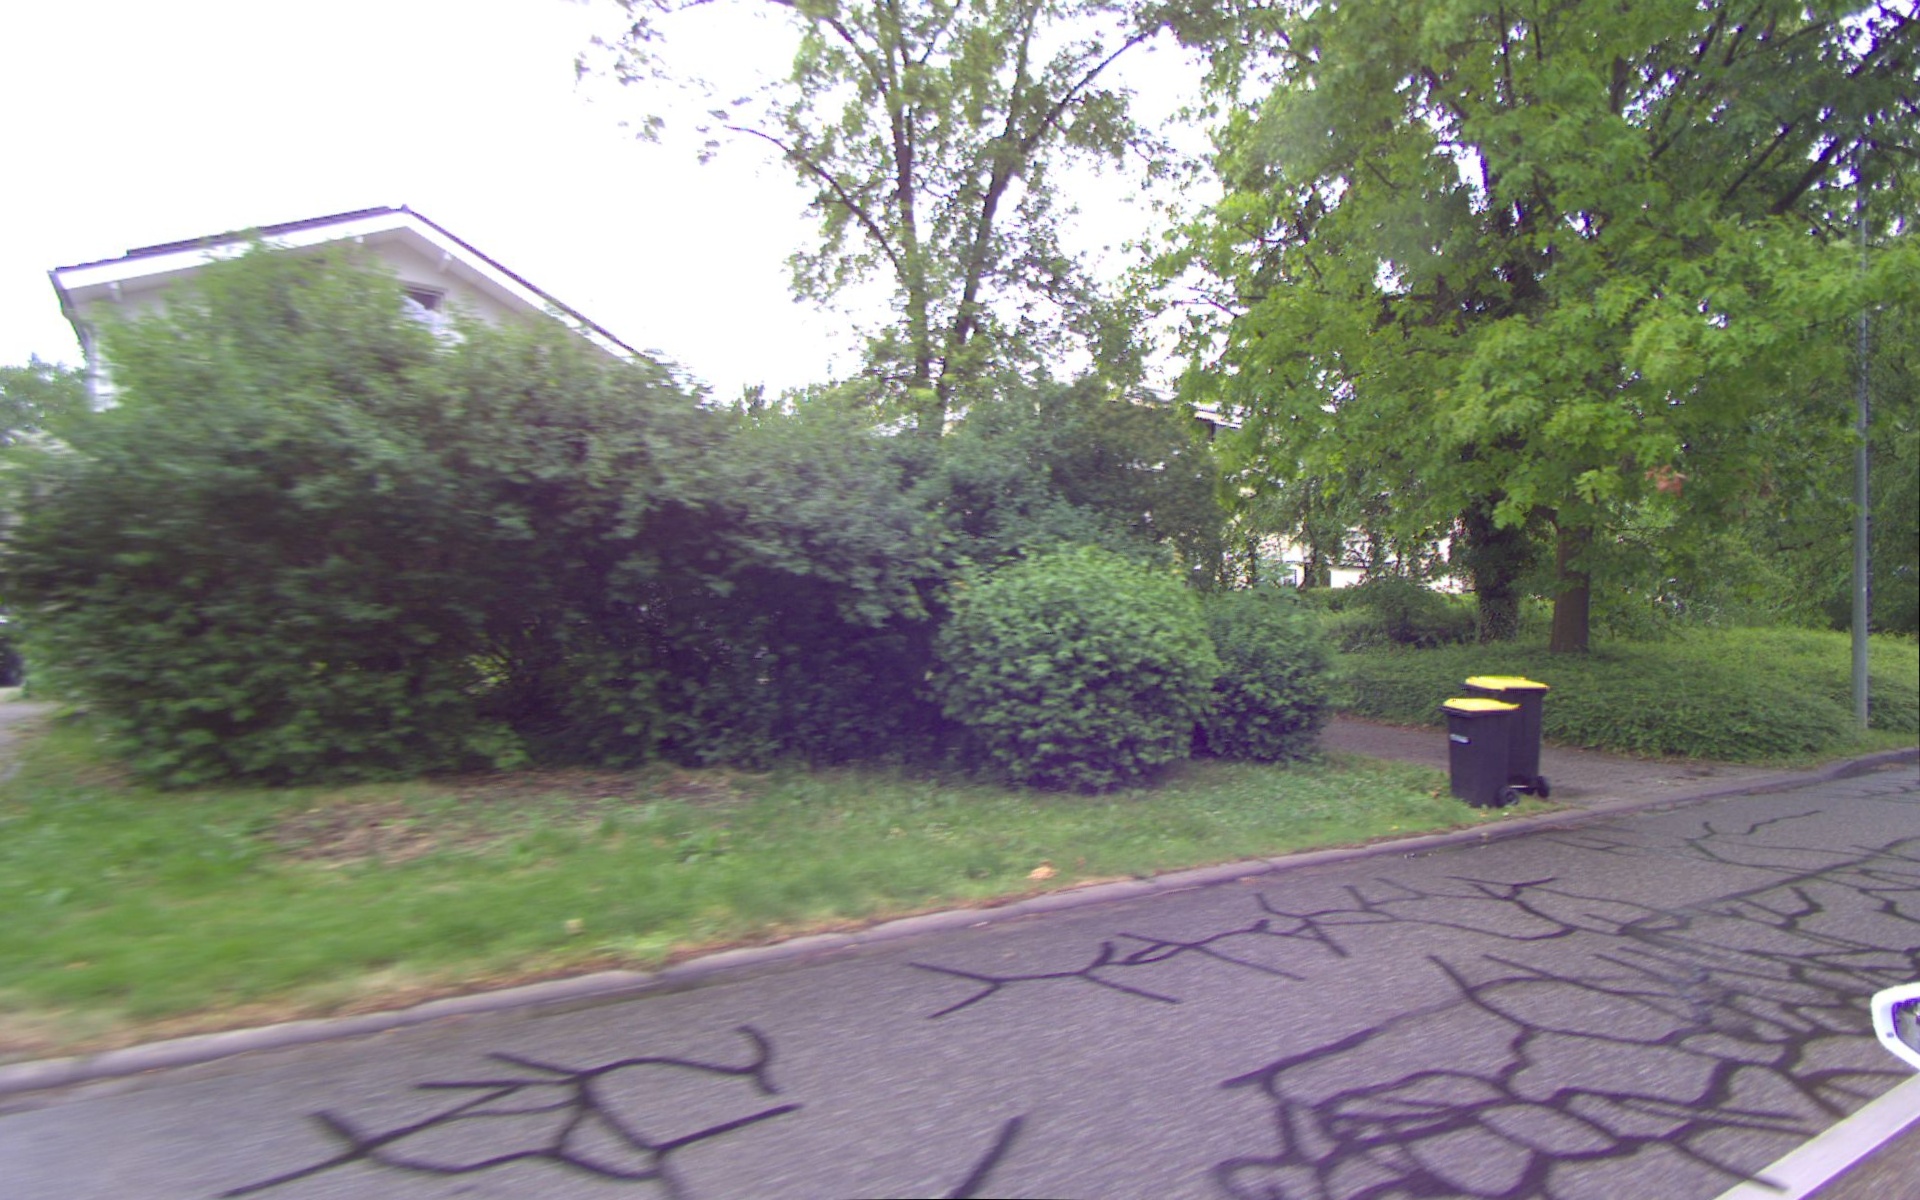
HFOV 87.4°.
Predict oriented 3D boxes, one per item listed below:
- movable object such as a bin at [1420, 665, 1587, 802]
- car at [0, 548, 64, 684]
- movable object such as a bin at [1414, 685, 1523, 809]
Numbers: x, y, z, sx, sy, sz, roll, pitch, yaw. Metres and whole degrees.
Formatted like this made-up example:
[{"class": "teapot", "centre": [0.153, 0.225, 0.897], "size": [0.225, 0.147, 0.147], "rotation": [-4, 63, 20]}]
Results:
[{"class": "movable object such as a bin", "centre": [5.147, 1.221, 9.549], "size": [0.954, 1.120, 1.033], "rotation": [1, 1, -29]}, {"class": "car", "centre": [-16.103, 0.297, 16.216], "size": [1.980, 2.040, 3.961], "rotation": [1, -2, -35]}, {"class": "movable object such as a bin", "centre": [4.548, 1.290, 9.000], "size": [0.571, 0.992, 0.645], "rotation": [1, 1, -29]}]
